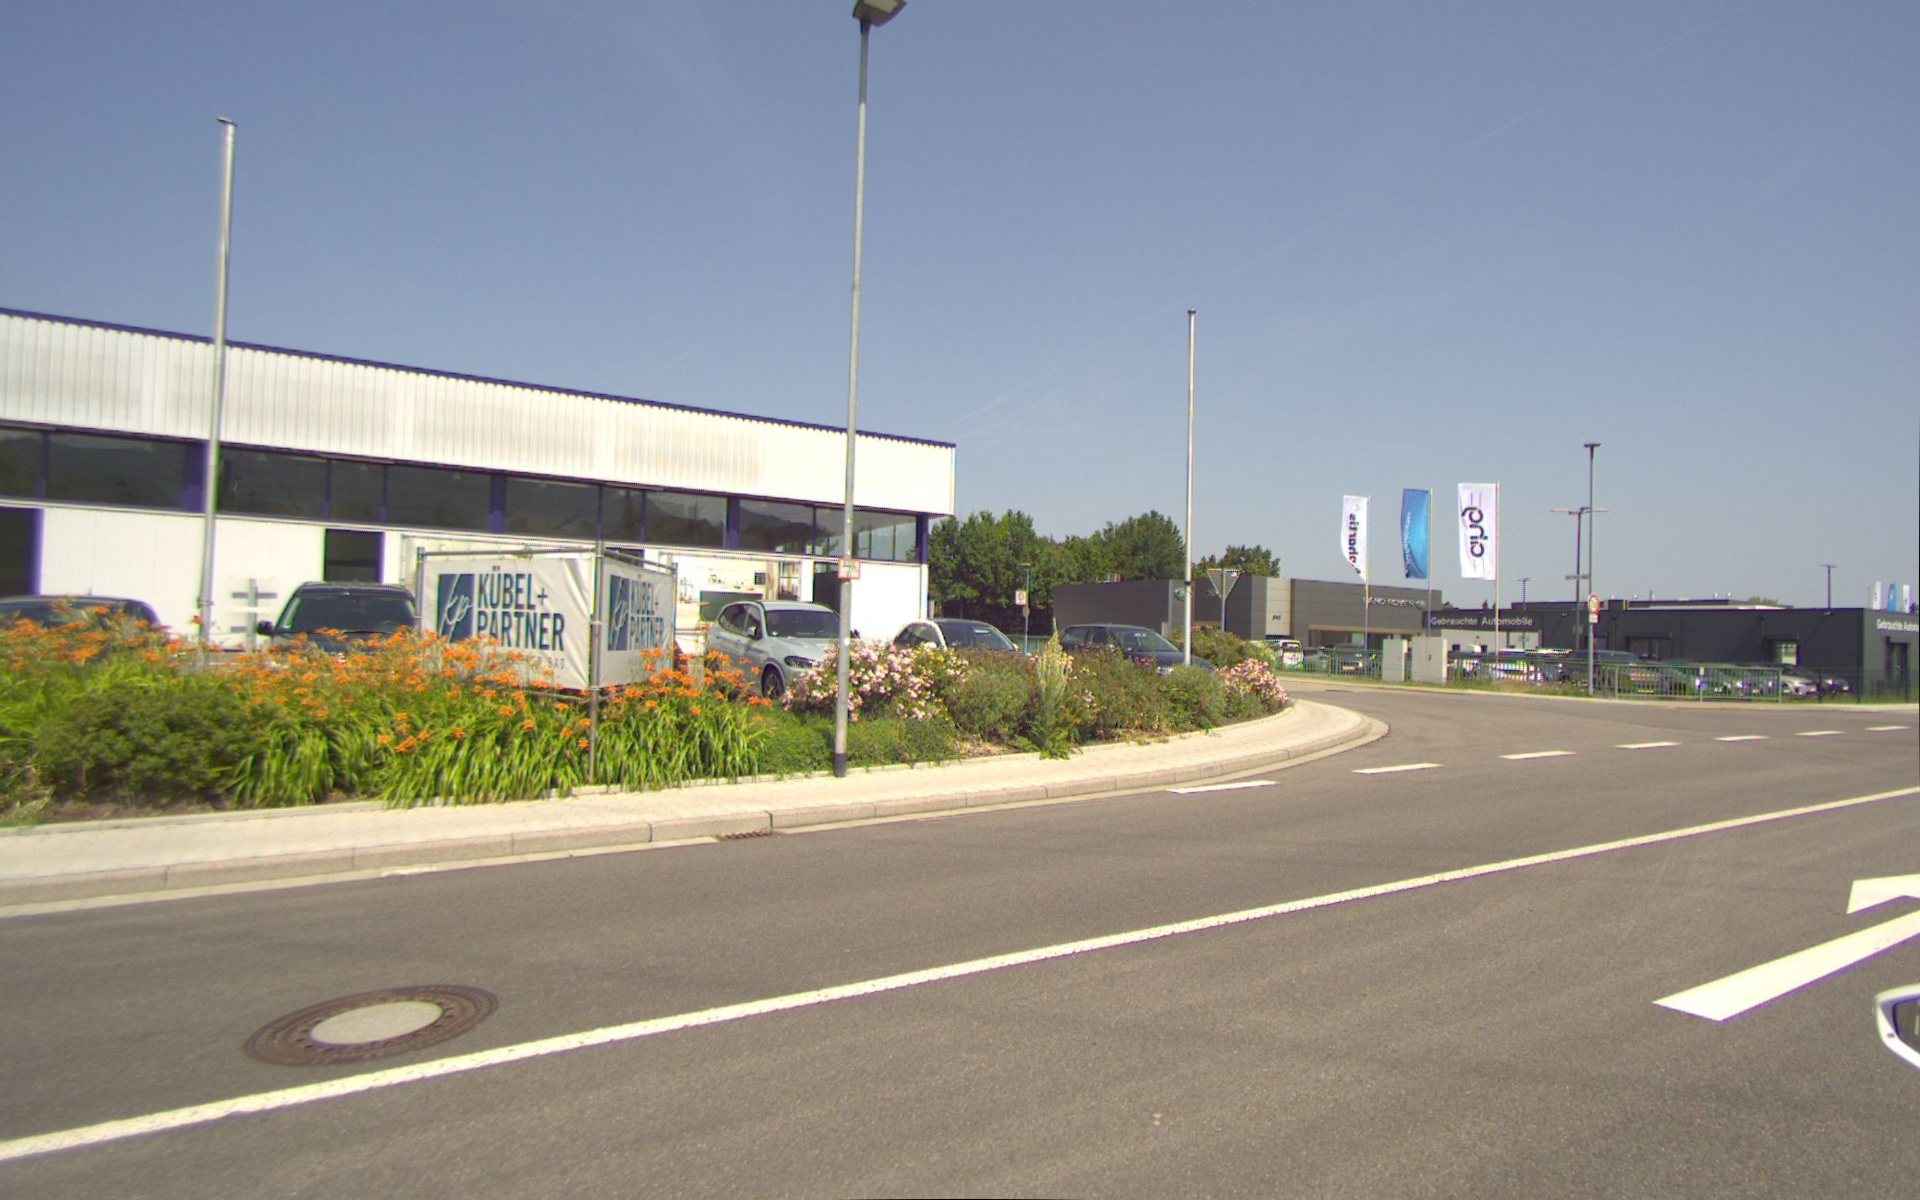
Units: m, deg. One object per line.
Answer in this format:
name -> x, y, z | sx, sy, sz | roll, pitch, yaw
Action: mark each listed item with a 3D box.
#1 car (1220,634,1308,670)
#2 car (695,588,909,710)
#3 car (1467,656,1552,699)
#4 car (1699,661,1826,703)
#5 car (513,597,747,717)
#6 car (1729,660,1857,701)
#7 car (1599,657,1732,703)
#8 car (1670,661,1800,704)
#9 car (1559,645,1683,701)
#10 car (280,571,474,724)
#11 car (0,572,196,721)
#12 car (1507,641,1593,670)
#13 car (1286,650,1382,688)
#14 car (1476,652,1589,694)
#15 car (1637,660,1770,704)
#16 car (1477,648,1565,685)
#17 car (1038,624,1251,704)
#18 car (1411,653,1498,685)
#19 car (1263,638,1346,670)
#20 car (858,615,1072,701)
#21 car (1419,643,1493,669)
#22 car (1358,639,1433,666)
car -> 16.049, 2.718, 53.297 | 1.945, 1.757, 4.281 | 2, -2, -32
car -> -2.657, 0.754, 16.039 | 1.814, 1.669, 4.199 | 2, -3, -33
car -> 22.677, 3.168, 41.659 | 1.888, 1.582, 4.512 | 2, -2, 13
car -> 35.222, 3.549, 44.194 | 1.944, 1.653, 3.969 | 2, -3, -29
car -> -4.808, 0.767, 14.280 | 1.982, 1.432, 3.958 | 2, -3, -37
car -> 37.840, 3.616, 45.731 | 1.803, 1.653, 4.126 | 2, -3, -32
car -> 28.201, 3.158, 40.269 | 1.865, 1.653, 3.966 | 2, -3, -31
car -> 32.941, 3.462, 42.809 | 1.955, 1.653, 3.966 | 2, -3, -31
car -> 25.139, 2.722, 38.428 | 2.024, 1.889, 4.683 | 3, -2, 7
car -> -7.531, 0.584, 12.849 | 1.814, 1.616, 4.199 | 2, -3, -33
car -> -10.792, 0.542, 12.296 | 1.979, 1.549, 3.964 | 2, -3, -33
car -> 32.552, 3.039, 55.518 | 1.667, 1.439, 3.817 | 2, -2, -32
car -> 17.739, 3.249, 47.807 | 1.955, 1.686, 3.966 | 2, -3, -31
car -> 25.629, 3.234, 45.076 | 1.955, 1.686, 3.966 | 2, -3, -31
car -> 30.561, 3.329, 41.387 | 1.955, 1.653, 3.966 | 2, -3, -31
car -> 30.032, 3.525, 53.874 | 1.667, 1.852, 3.817 | 2, -2, -32
car -> 3.558, 1.224, 20.092 | 1.814, 1.412, 4.199 | 2, -3, -33
car -> 24.987, 3.455, 50.845 | 1.667, 1.464, 3.664 | 2, -2, -32
car -> 18.601, 2.897, 54.352 | 1.955, 1.686, 3.966 | 2, -3, -31
car -> -0.047, 0.991, 17.879 | 1.814, 1.332, 4.199 | 2, -3, -33
car -> 29.747, 3.346, 60.303 | 1.667, 1.439, 3.664 | 2, -2, -32
car -> 24.847, 3.002, 57.361 | 1.667, 1.439, 3.664 | 2, -2, -32
